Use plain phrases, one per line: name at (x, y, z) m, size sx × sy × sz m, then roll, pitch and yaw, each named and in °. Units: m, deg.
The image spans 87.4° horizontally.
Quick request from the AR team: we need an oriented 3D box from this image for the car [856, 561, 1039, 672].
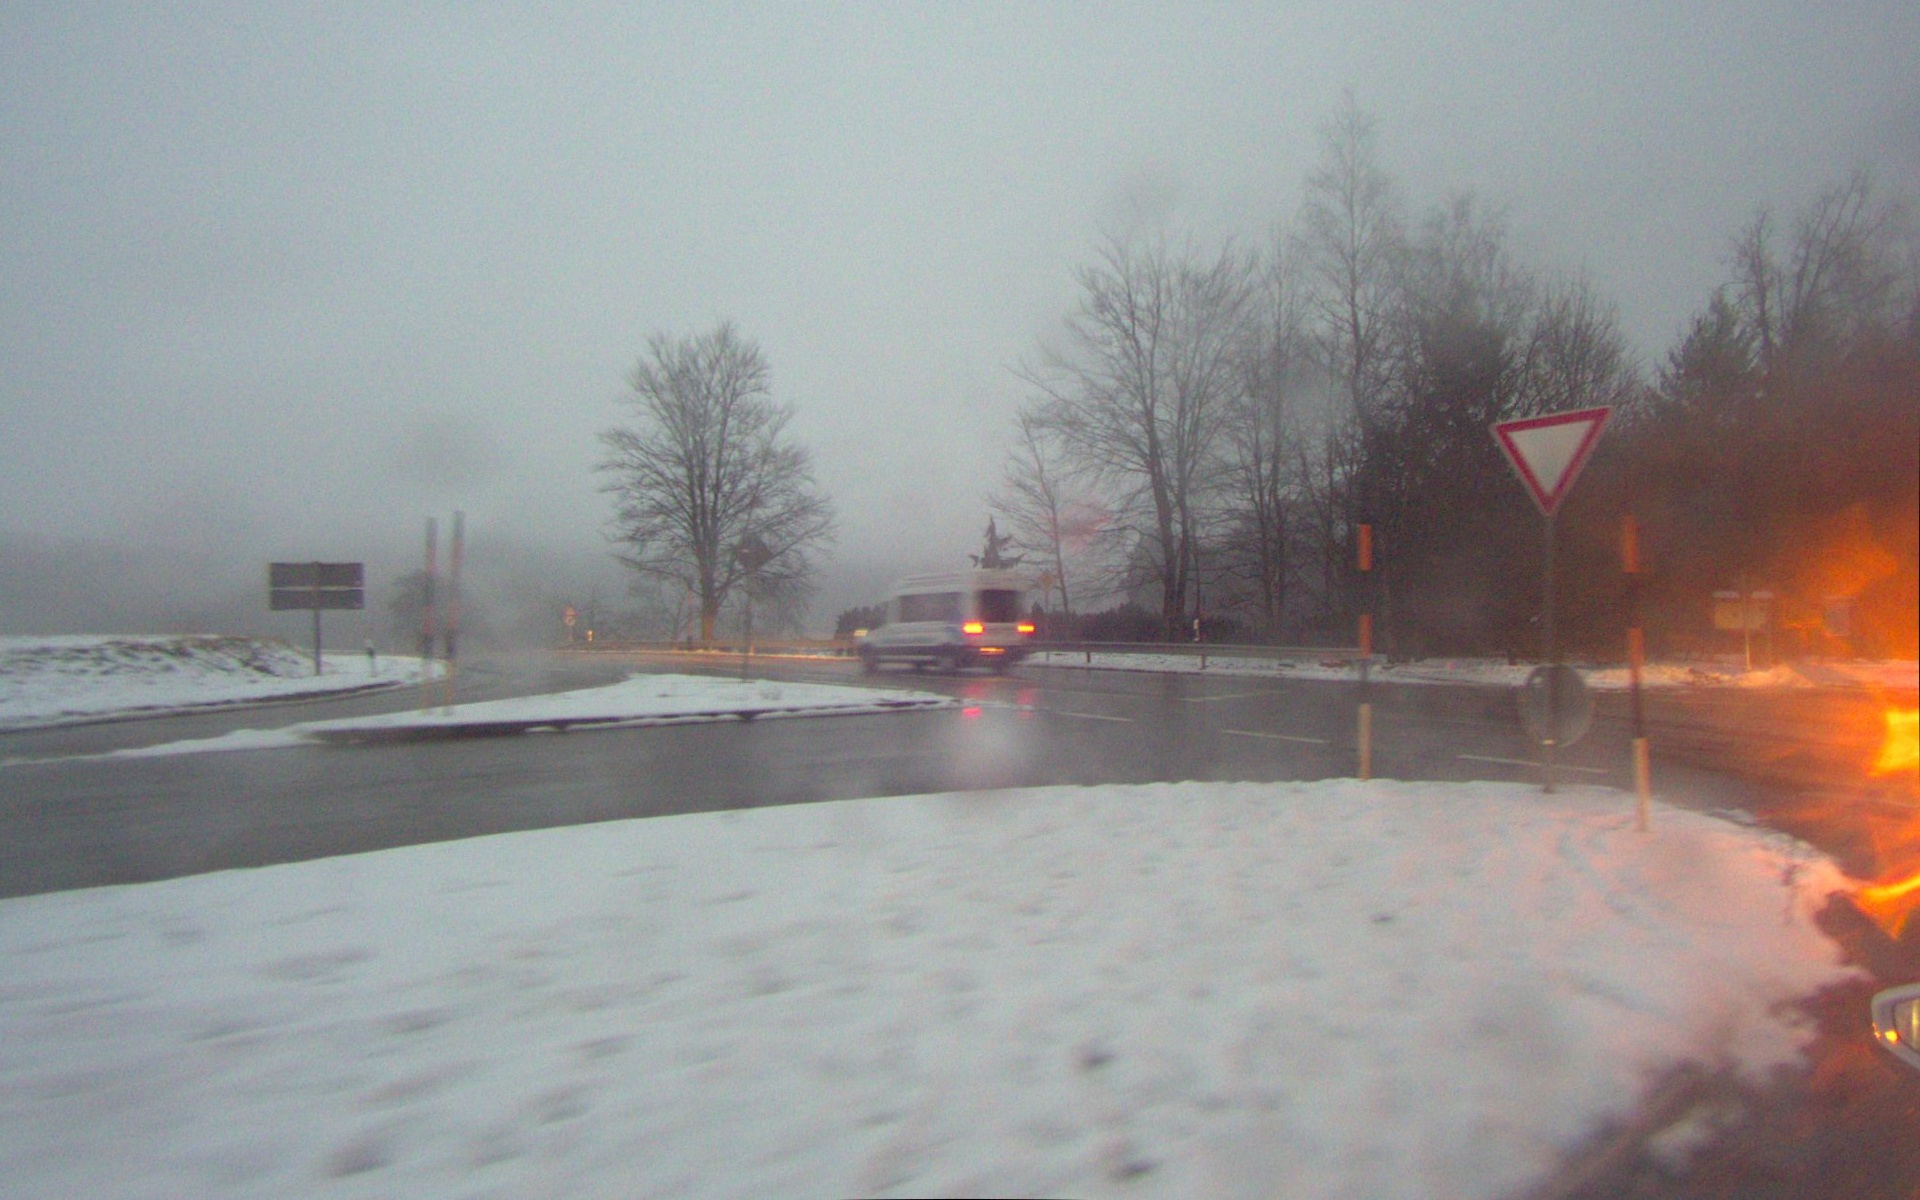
car at (-0.480, 0.398, 27.579) m, size 2.134 × 2.731 × 5.470 m, roll 2°, pitch 0°, yaw -37°
